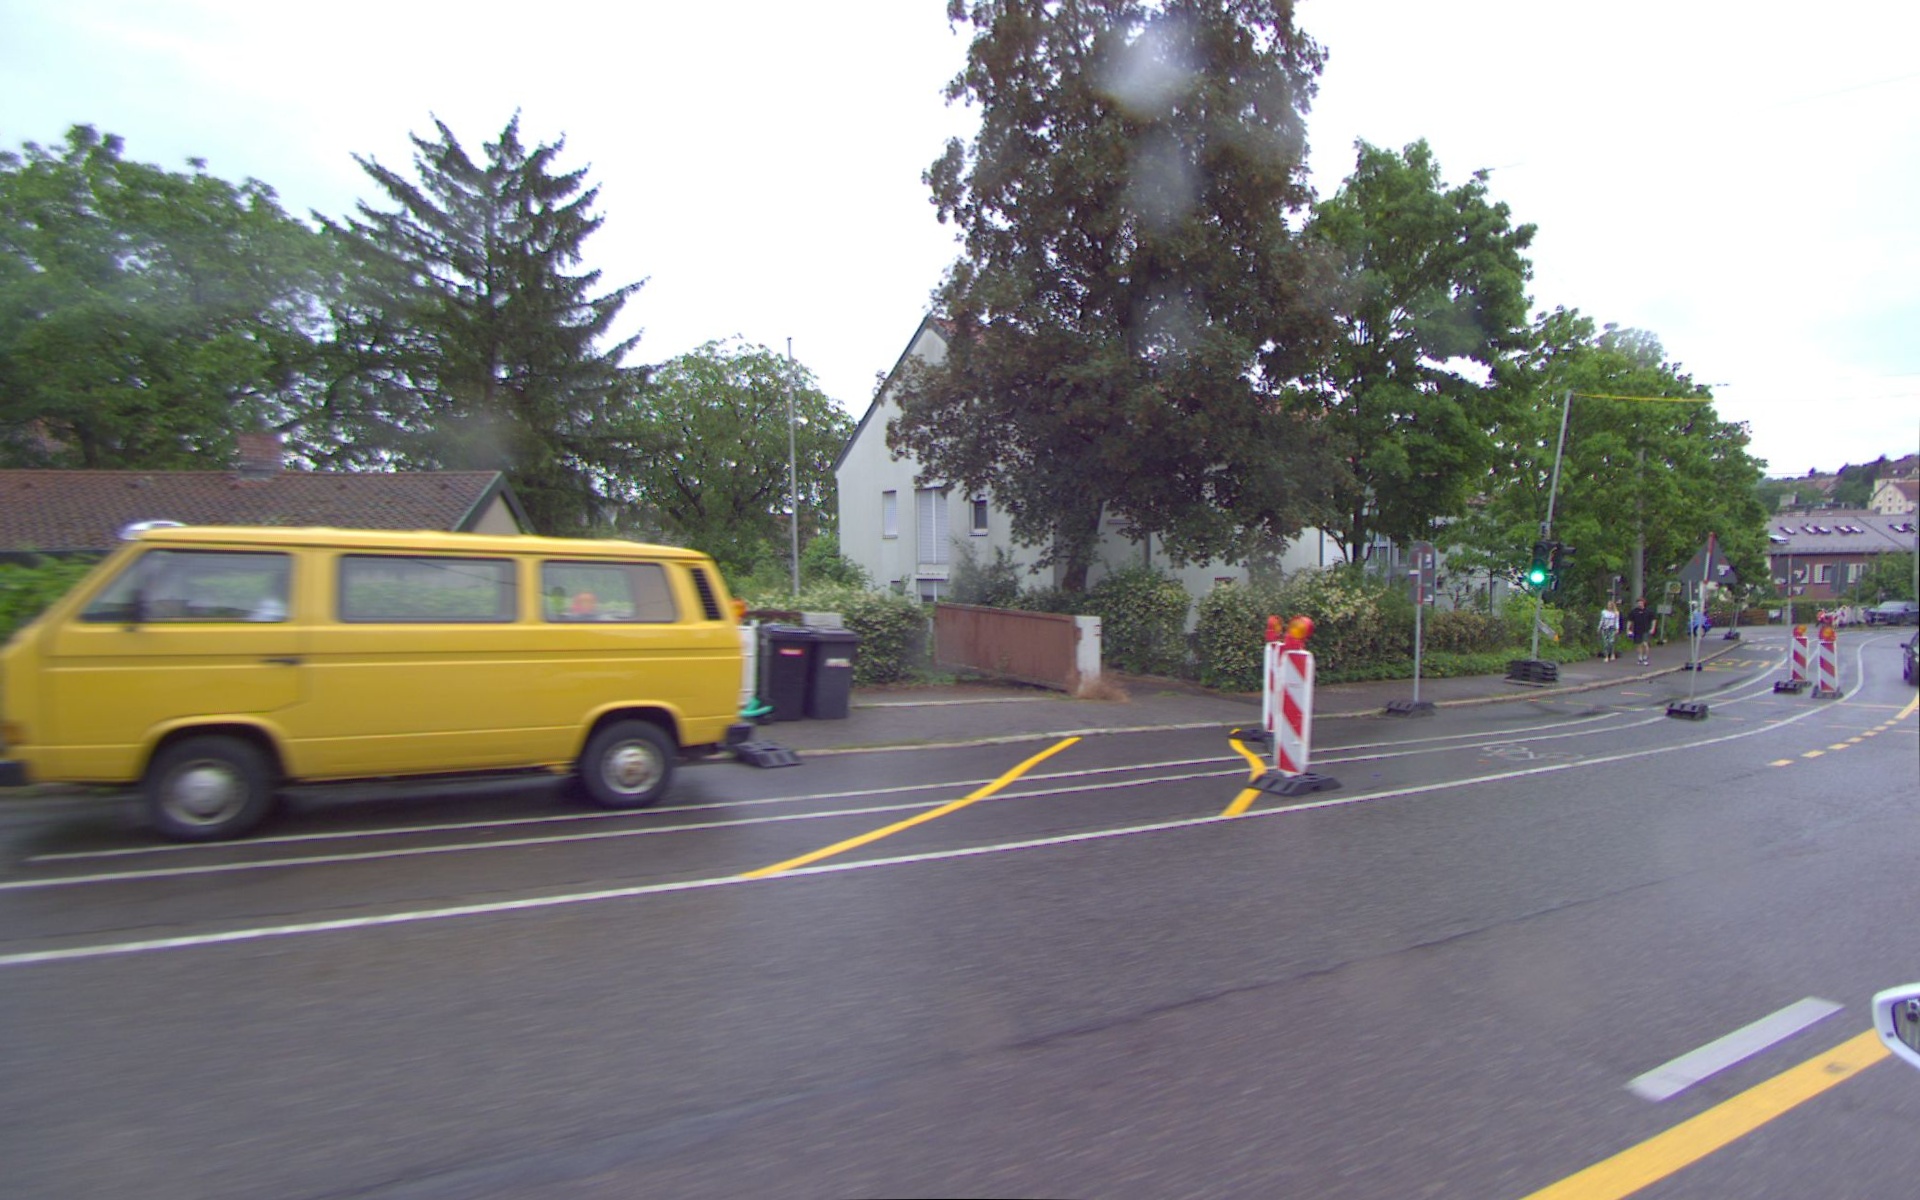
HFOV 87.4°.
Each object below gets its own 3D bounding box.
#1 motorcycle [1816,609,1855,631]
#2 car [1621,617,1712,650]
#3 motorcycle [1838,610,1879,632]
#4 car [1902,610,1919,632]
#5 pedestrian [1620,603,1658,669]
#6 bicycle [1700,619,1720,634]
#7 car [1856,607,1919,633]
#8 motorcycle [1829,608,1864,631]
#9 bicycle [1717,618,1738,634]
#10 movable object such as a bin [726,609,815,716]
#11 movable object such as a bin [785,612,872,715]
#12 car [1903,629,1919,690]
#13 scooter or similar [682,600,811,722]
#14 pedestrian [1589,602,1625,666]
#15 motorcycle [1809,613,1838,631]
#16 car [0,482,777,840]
[{"bbox_3d":[56.943,1.312,65.375,0.504,1.297,1.795,0,4,-25],"label":"motorcycle"},{"bbox_3d":[41.002,1.928,58.377,3.862,1.688,1.843,3,0,7],"label":"car"},{"bbox_3d":[59.360,1.372,66.380,1.874,1.288,0.574,5,5,33],"label":"motorcycle"},{"bbox_3d":[68.027,1.460,69.932,4.404,1.424,1.696,0,5,-20],"label":"car"},{"bbox_3d":[19.768,1.021,29.242,0.699,1.841,1.141,3,2,41],"label":"pedestrian"},{"bbox_3d":[52.397,1.846,70.173,0.299,1.048,1.327,3,-3,-7],"label":"bicycle"},{"bbox_3d":[63.189,1.336,68.130,4.327,1.598,1.916,0,5,-25],"label":"car"},{"bbox_3d":[57.947,1.290,65.679,0.601,1.321,1.807,2,4,2],"label":"motorcycle"},{"bbox_3d":[52.534,1.781,68.769,0.300,1.048,1.302,3,-3,-8],"label":"bicycle"},{"bbox_3d":[-2.211,0.711,11.670,0.704,1.155,0.854,3,0,-31],"label":"movable object such as a bin"},{"bbox_3d":[-1.592,0.751,12.076,0.704,1.155,0.854,3,0,-31],"label":"movable object such as a bin"},{"bbox_3d":[25.365,1.505,25.706,1.680,1.480,4.658,0,-1,42],"label":"car"},{"bbox_3d":[-2.385,0.683,11.223,1.297,1.277,0.398,3,3,-19],"label":"scooter or similar"},{"bbox_3d":[19.184,0.987,29.769,0.673,1.841,1.149,3,2,41],"label":"pedestrian"},{"bbox_3d":[55.541,1.422,64.589,1.892,1.155,0.509,0,1,-19],"label":"motorcycle"},{"bbox_3d":[-3.815,0.419,7.330,4.523,1.953,1.795,2,-1,-30],"label":"car"}]
